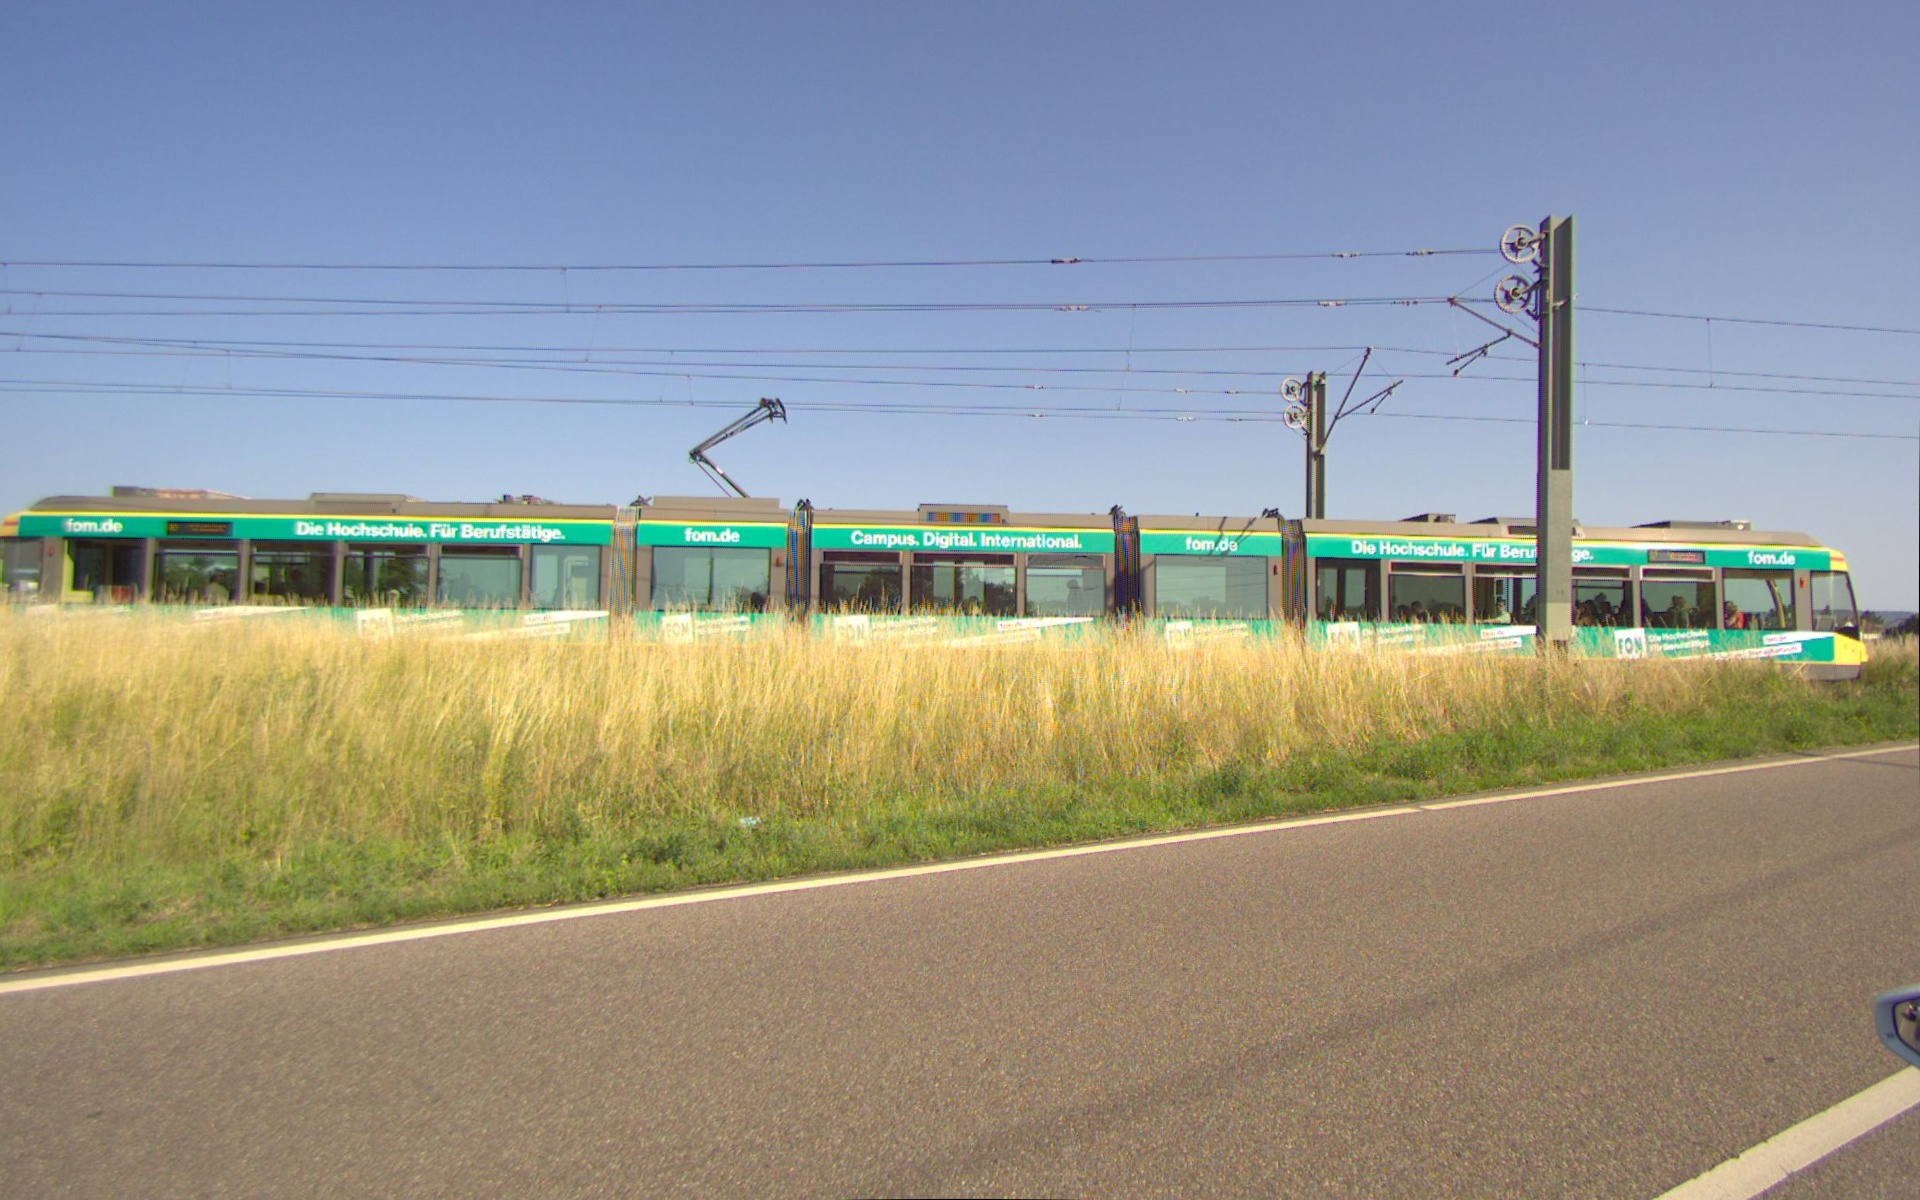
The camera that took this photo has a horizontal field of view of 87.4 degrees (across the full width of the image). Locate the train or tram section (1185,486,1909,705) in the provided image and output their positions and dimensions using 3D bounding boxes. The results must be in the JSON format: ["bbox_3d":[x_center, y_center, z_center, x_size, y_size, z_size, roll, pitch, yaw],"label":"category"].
[{"bbox_3d":[12.188,-0.042,21.528,13.986,3.615,2.915,3,0,-3],"label":"train or tram section"}]

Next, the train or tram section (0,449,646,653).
[{"bbox_3d":[-12.868,-0.912,20.431,11.928,3.531,2.959,2,0,-2],"label":"train or tram section"}]

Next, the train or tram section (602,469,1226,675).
[{"bbox_3d":[-0.849,-0.501,20.862,11.930,3.500,2.926,2,0,-3],"label":"train or tram section"}]
